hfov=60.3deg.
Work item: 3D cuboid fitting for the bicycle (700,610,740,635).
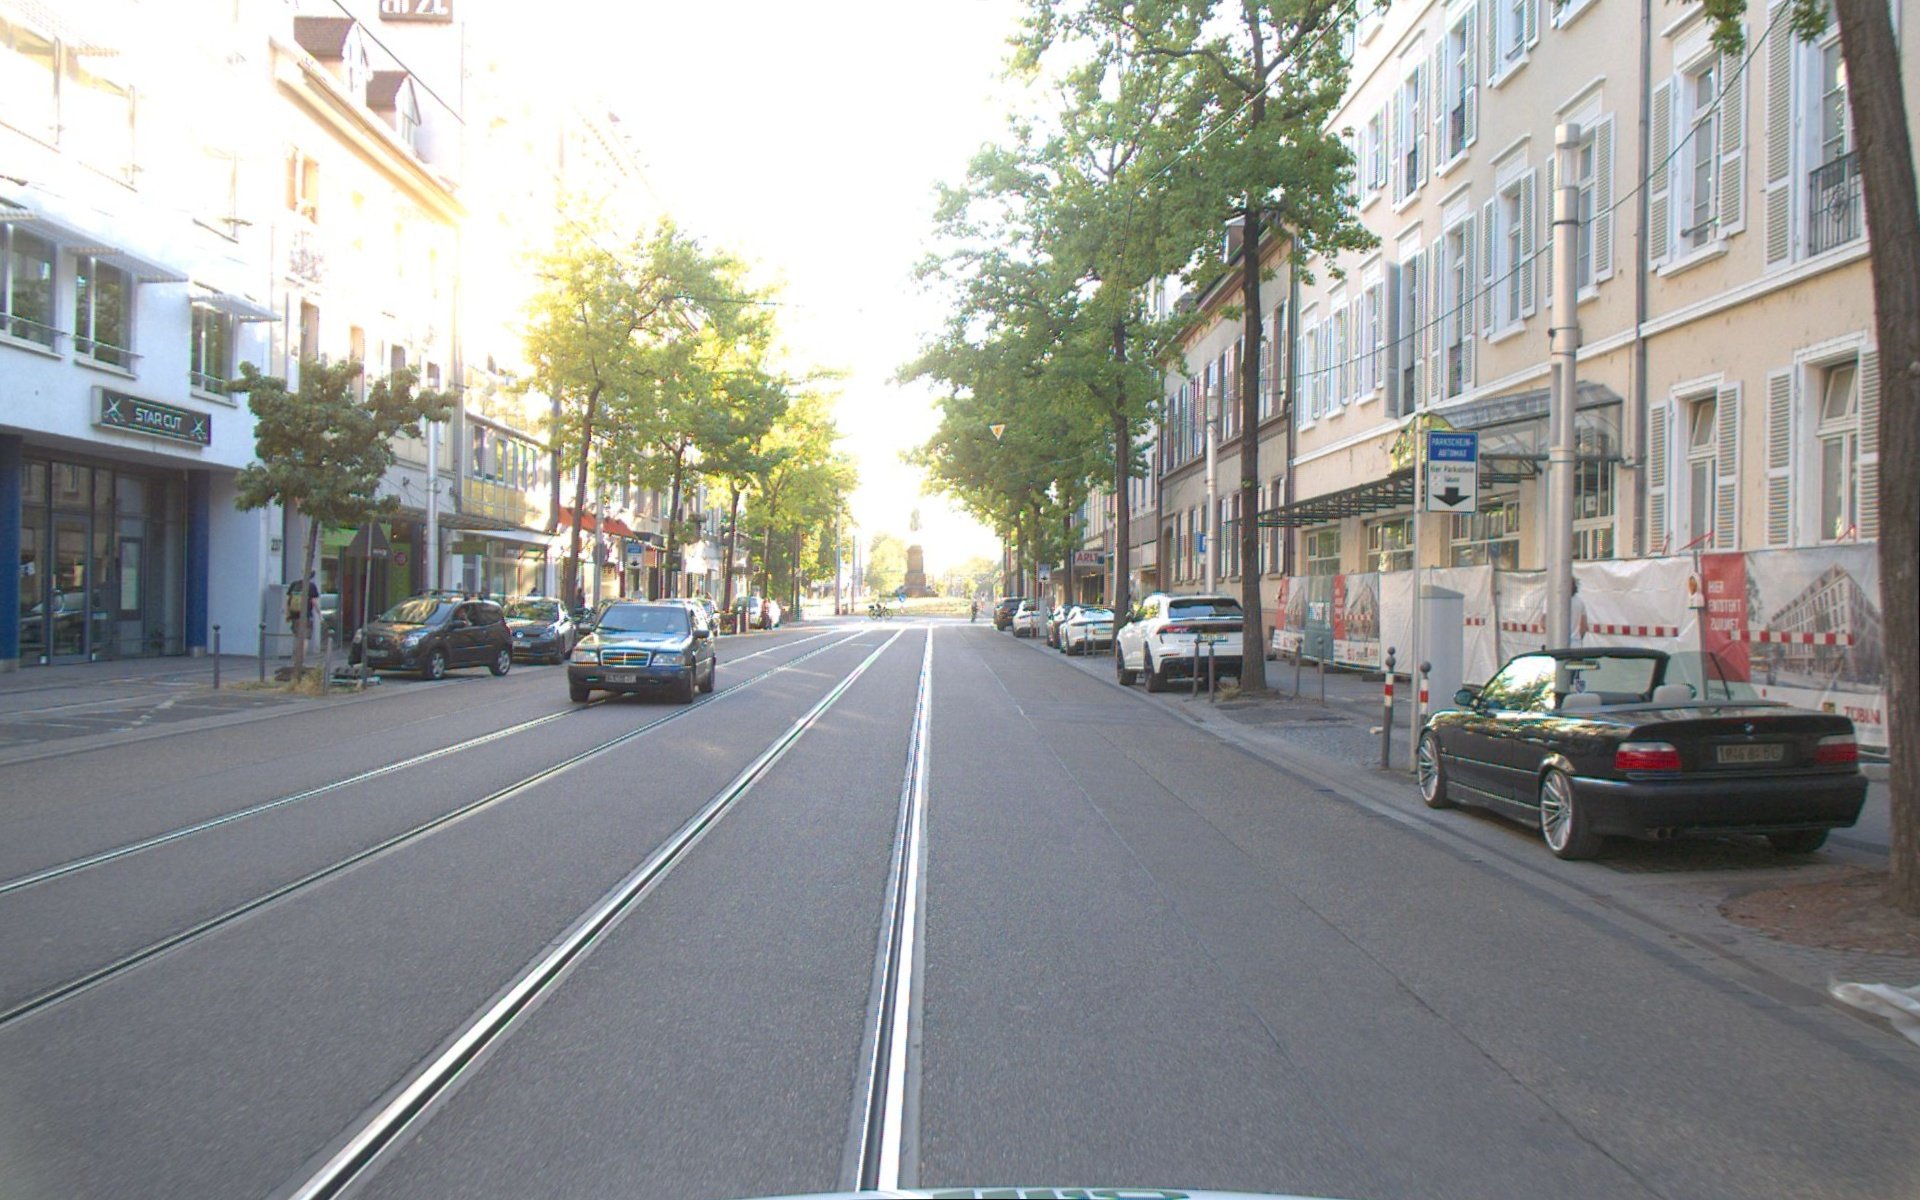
[{"bbox_3d":[-10.206,0.946,70.223,1.582,0.982,0.433,3,0,4],"label":"bicycle"}]

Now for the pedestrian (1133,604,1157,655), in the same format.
[{"bbox_3d":[5.876,0.926,52.467,0.636,1.601,0.798,1,0,-1],"label":"pedestrian"}]

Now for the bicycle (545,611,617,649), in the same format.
[{"bbox_3d":[-10.494,0.826,45.812,1.930,1.019,0.330,1,0,1],"label":"bicycle"}]

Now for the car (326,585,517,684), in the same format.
[{"bbox_3d":[-9.900,0.602,30.703,1.595,1.644,3.711,2,0,14],"label":"car"}]

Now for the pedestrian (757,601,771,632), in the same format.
[{"bbox_3d":[-9.815,0.812,82.700,0.607,1.536,0.729,0,-1,-1],"label":"pedestrian"}]

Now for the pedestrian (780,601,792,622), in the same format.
[{"bbox_3d":[-11.455,0.748,108.870,0.713,1.313,0.856,1,0,-4],"label":"pedestrian"}]

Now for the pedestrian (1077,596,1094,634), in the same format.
[{"bbox_3d":[5.800,0.701,76.564,0.630,1.699,0.786,-2,0,-1],"label":"pedestrian"}]

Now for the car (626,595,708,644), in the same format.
[{"bbox_3d":[-9.756,0.642,55.341,1.730,1.523,4.176,1,0,4],"label":"car"}]

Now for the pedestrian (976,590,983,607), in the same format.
[{"bbox_3d":[1.844,-0.137,154.372,0.623,1.634,0.771,0,0,-4],"label":"pedestrian"}]

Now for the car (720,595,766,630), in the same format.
[{"bbox_3d":[-11.196,0.634,85.629,1.799,1.607,4.116,4,0,-1],"label":"car"}]

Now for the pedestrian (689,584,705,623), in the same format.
[{"bbox_3d":[-14.026,0.169,88.294,0.707,2.049,0.642,1,0,-1],"label":"pedestrian"}]

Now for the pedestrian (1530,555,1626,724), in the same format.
[{"bbox_3d":[7.252,0.453,19.460,0.698,1.920,1.052,-1,0,-1],"label":"pedestrian"}]

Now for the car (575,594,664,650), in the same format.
[{"bbox_3d":[-9.962,0.616,48.677,1.677,1.486,4.485,2,0,-1],"label":"car"}]

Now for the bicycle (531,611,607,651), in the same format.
[{"bbox_3d":[-10.341,0.812,43.735,1.930,1.019,0.330,1,0,1],"label":"bicycle"}]

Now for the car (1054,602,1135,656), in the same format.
[{"bbox_3d":[3.898,0.809,48.586,1.873,1.445,4.887,-2,0,-1],"label":"car"}]

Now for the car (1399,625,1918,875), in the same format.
[{"bbox_3d":[4.594,0.894,11.674,1.758,1.334,4.328,-1,0,-1],"label":"car"}]

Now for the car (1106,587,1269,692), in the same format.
[{"bbox_3d":[4.048,0.686,30.349,1.958,1.717,4.963,-1,0,-4],"label":"car"}]

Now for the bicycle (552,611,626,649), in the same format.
[{"bbox_3d":[-10.193,0.831,45.431,1.930,1.019,0.330,1,0,1],"label":"bicycle"}]

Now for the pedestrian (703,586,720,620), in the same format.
[{"bbox_3d":[-13.261,0.175,88.305,0.707,1.791,1.090,1,0,-1],"label":"pedestrian"}]

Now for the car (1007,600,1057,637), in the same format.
[{"bbox_3d":[3.207,0.809,74.307,1.953,1.524,4.679,-3,0,0],"label":"car"}]

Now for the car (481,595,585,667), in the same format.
[{"bbox_3d":[-9.968,0.692,38.904,1.758,1.516,4.236,2,0,-7],"label":"car"}]

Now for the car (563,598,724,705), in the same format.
[{"bbox_3d":[-4.608,0.699,24.670,1.744,1.432,4.525,1,0,-3],"label":"car"}]

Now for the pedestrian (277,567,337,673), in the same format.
[{"bbox_3d":[-11.810,0.358,29.941,0.646,1.857,0.878,3,0,-1],"label":"pedestrian"}]

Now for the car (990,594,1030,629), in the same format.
[{"bbox_3d":[2.757,0.623,92.171,1.899,1.790,4.678,-3,0,-1],"label":"car"}]

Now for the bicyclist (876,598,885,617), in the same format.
[{"bbox_3d":[-5.916,0.565,123.041,0.524,1.463,0.367,1,0,13],"label":"bicyclist"}]

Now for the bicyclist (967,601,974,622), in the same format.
[{"bbox_3d":[0.728,0.802,115.629,0.419,1.507,0.466,1,0,8],"label":"bicyclist"}]

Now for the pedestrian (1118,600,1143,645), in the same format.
[{"bbox_3d":[6.923,0.921,67.258,0.841,1.783,0.932,-2,0,-1],"label":"pedestrian"}]

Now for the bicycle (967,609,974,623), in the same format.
[{"bbox_3d":[0.705,1.102,115.626,0.258,1.000,1.339,1,0,10],"label":"bicycle"}]

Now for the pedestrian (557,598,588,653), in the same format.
[{"bbox_3d":[-12.431,0.813,53.107,0.827,1.723,0.740,0,0,-2],"label":"pedestrian"}]

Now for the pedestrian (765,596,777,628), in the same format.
[{"bbox_3d":[-9.531,0.620,83.544,0.510,1.596,0.633,0,-1,-1],"label":"pedestrian"}]

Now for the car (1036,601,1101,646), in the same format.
[{"bbox_3d":[3.784,0.797,58.440,1.796,1.504,4.760,-1,0,-2],"label":"car"}]

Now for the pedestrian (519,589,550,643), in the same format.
[{"bbox_3d":[-13.562,0.506,52.747,0.773,1.723,0.913,0,0,-2],"label":"pedestrian"}]

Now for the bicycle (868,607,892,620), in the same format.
[{"bbox_3d":[-5.938,1.005,123.029,1.694,0.880,0.367,1,0,13],"label":"bicycle"}]

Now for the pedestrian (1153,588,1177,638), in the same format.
[{"bbox_3d":[7.192,0.450,57.978,0.644,1.694,0.888,-2,0,-2],"label":"pedestrian"}]

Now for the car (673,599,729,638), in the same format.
[{"bbox_3d":[-10.371,0.722,66.413,1.632,1.453,3.826,3,0,-2],"label":"car"}]
